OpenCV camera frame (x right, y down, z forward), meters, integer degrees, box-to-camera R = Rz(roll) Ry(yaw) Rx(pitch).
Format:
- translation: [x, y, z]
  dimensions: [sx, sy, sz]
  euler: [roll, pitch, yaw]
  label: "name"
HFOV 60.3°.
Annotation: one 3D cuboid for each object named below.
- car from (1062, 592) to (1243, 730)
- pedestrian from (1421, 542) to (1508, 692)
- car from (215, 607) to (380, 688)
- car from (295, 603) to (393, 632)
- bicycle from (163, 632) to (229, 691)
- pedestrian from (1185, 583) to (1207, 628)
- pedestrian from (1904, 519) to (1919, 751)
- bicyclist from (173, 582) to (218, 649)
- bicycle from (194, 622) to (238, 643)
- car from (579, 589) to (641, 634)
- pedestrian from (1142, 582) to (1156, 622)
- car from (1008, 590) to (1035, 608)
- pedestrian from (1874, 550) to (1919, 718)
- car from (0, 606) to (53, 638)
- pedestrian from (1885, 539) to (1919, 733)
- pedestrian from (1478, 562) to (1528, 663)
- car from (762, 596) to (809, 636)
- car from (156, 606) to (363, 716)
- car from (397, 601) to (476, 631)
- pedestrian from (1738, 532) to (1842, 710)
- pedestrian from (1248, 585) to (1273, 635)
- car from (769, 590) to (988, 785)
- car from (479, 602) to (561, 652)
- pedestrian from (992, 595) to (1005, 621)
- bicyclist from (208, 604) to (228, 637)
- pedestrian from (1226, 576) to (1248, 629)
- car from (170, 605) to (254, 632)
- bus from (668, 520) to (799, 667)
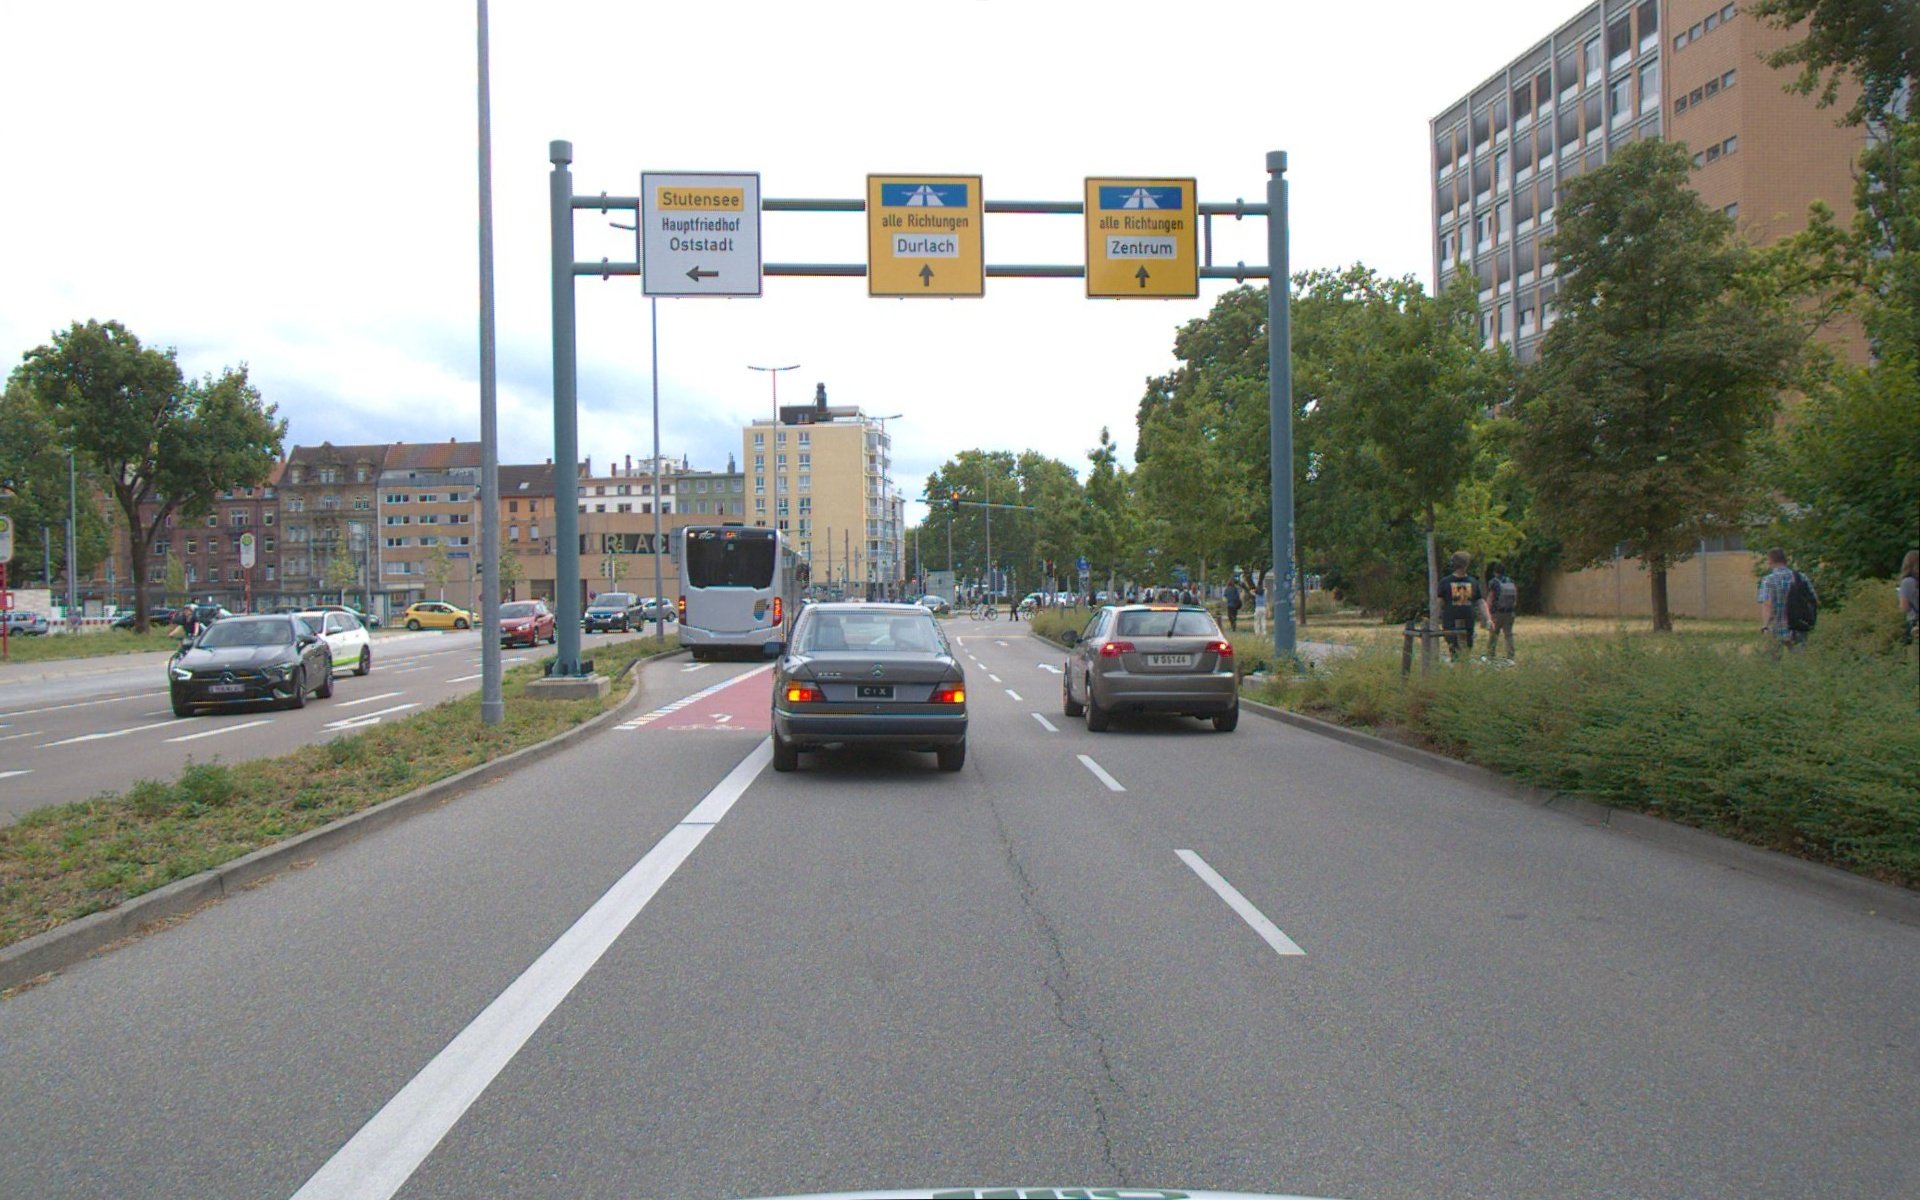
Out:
- translation: [2.233, 0.660, 20.065]
  dimensions: [1.689, 1.483, 3.735]
  euler: [-1, 0, -1]
  label: "car"
- translation: [6.453, 0.212, 21.124]
  dimensions: [0.915, 1.862, 0.886]
  euler: [-1, 0, 25]
  label: "pedestrian"
- translation: [-13.884, 0.953, 34.939]
  dimensions: [1.765, 1.515, 4.414]
  euler: [-1, 0, -2]
  label: "car"
- translation: [-32.486, 0.916, 87.342]
  dimensions: [4.580, 1.501, 1.658]
  euler: [0, 0, -7]
  label: "car"
- translation: [-16.582, 1.327, 35.944]
  dimensions: [0.570, 1.191, 1.964]
  euler: [-1, 0, -2]
  label: "bicycle"
- translation: [9.247, 0.222, 64.715]
  dimensions: [0.784, 1.743, 0.765]
  euler: [-1, 0, 11]
  label: "pedestrian"
- translation: [8.024, 0.274, 12.935]
  dimensions: [0.679, 1.853, 0.954]
  euler: [-1, 0, -2]
  label: "pedestrian"
- translation: [-16.606, 0.328, 35.933]
  dimensions: [0.568, 1.444, 0.811]
  euler: [-1, 0, 1]
  label: "bicyclist"
- translation: [-37.834, 1.659, 84.134]
  dimensions: [1.927, 0.999, 0.630]
  euler: [-1, 0, -7]
  label: "bicycle"
- translation: [-14.532, 0.449, 68.927]
  dimensions: [1.766, 1.694, 4.298]
  euler: [-3, 0, -2]
  label: "car"
- translation: [9.718, 0.088, 85.044]
  dimensions: [0.602, 2.049, 0.597]
  euler: [-1, 0, -3]
  label: "pedestrian"
- translation: [5.895, -0.099, 158.643]
  dimensions: [1.951, 1.733, 4.004]
  euler: [-1, 0, 11]
  label: "car"
- translation: [9.699, 0.330, 16.777]
  dimensions: [0.458, 1.662, 0.653]
  euler: [-1, 0, -2]
  label: "pedestrian"
- translation: [-52.151, 1.226, 90.438]
  dimensions: [4.076, 1.678, 1.644]
  euler: [-1, 0, -8]
  label: "car"
- translation: [8.616, 0.306, 14.497]
  dimensions: [0.544, 1.684, 0.753]
  euler: [-1, 0, -2]
  label: "pedestrian"
- translation: [9.401, 0.209, 28.647]
  dimensions: [0.575, 1.712, 0.748]
  euler: [-1, 0, -2]
  label: "pedestrian"
- translation: [-6.530, 0.570, 62.218]
  dimensions: [1.622, 1.421, 3.856]
  euler: [-1, 0, -5]
  label: "car"
- translation: [-10.862, 0.884, 25.987]
  dimensions: [1.767, 1.515, 4.399]
  euler: [-1, 0, -6]
  label: "car"
- translation: [-27.833, 0.855, 88.024]
  dimensions: [3.783, 1.544, 1.658]
  euler: [0, 0, -7]
  label: "car"
- translation: [8.518, 0.209, 16.999]
  dimensions: [0.606, 1.766, 0.814]
  euler: [-1, 0, -2]
  label: "pedestrian"
- translation: [9.073, 0.299, 49.919]
  dimensions: [0.643, 1.496, 0.562]
  euler: [-1, 0, 15]
  label: "pedestrian"
- translation: [-0.837, 0.687, 15.291]
  dimensions: [1.727, 1.515, 4.166]
  euler: [-1, 0, -5]
  label: "car"
- translation: [-14.643, 0.872, 55.203]
  dimensions: [1.766, 1.515, 4.286]
  euler: [-1, 0, -3]
  label: "car"
- translation: [2.453, 0.528, 105.593]
  dimensions: [0.552, 1.620, 0.623]
  euler: [0, -2, -41]
  label: "pedestrian"
- translation: [-37.747, 1.052, 84.161]
  dimensions: [0.771, 1.672, 0.571]
  euler: [-1, 0, -7]
  label: "bicyclist"
- translation: [9.227, 0.083, 55.097]
  dimensions: [0.632, 1.743, 0.562]
  euler: [-1, 0, 13]
  label: "pedestrian"
- translation: [-39.141, 0.964, 86.646]
  dimensions: [3.693, 1.419, 1.581]
  euler: [0, 0, -9]
  label: "car"
- translation: [-5.790, -0.194, 43.468]
  dimensions: [2.775, 3.449, 8.176]
  euler: [-1, 0, -4]
  label: "bus"
